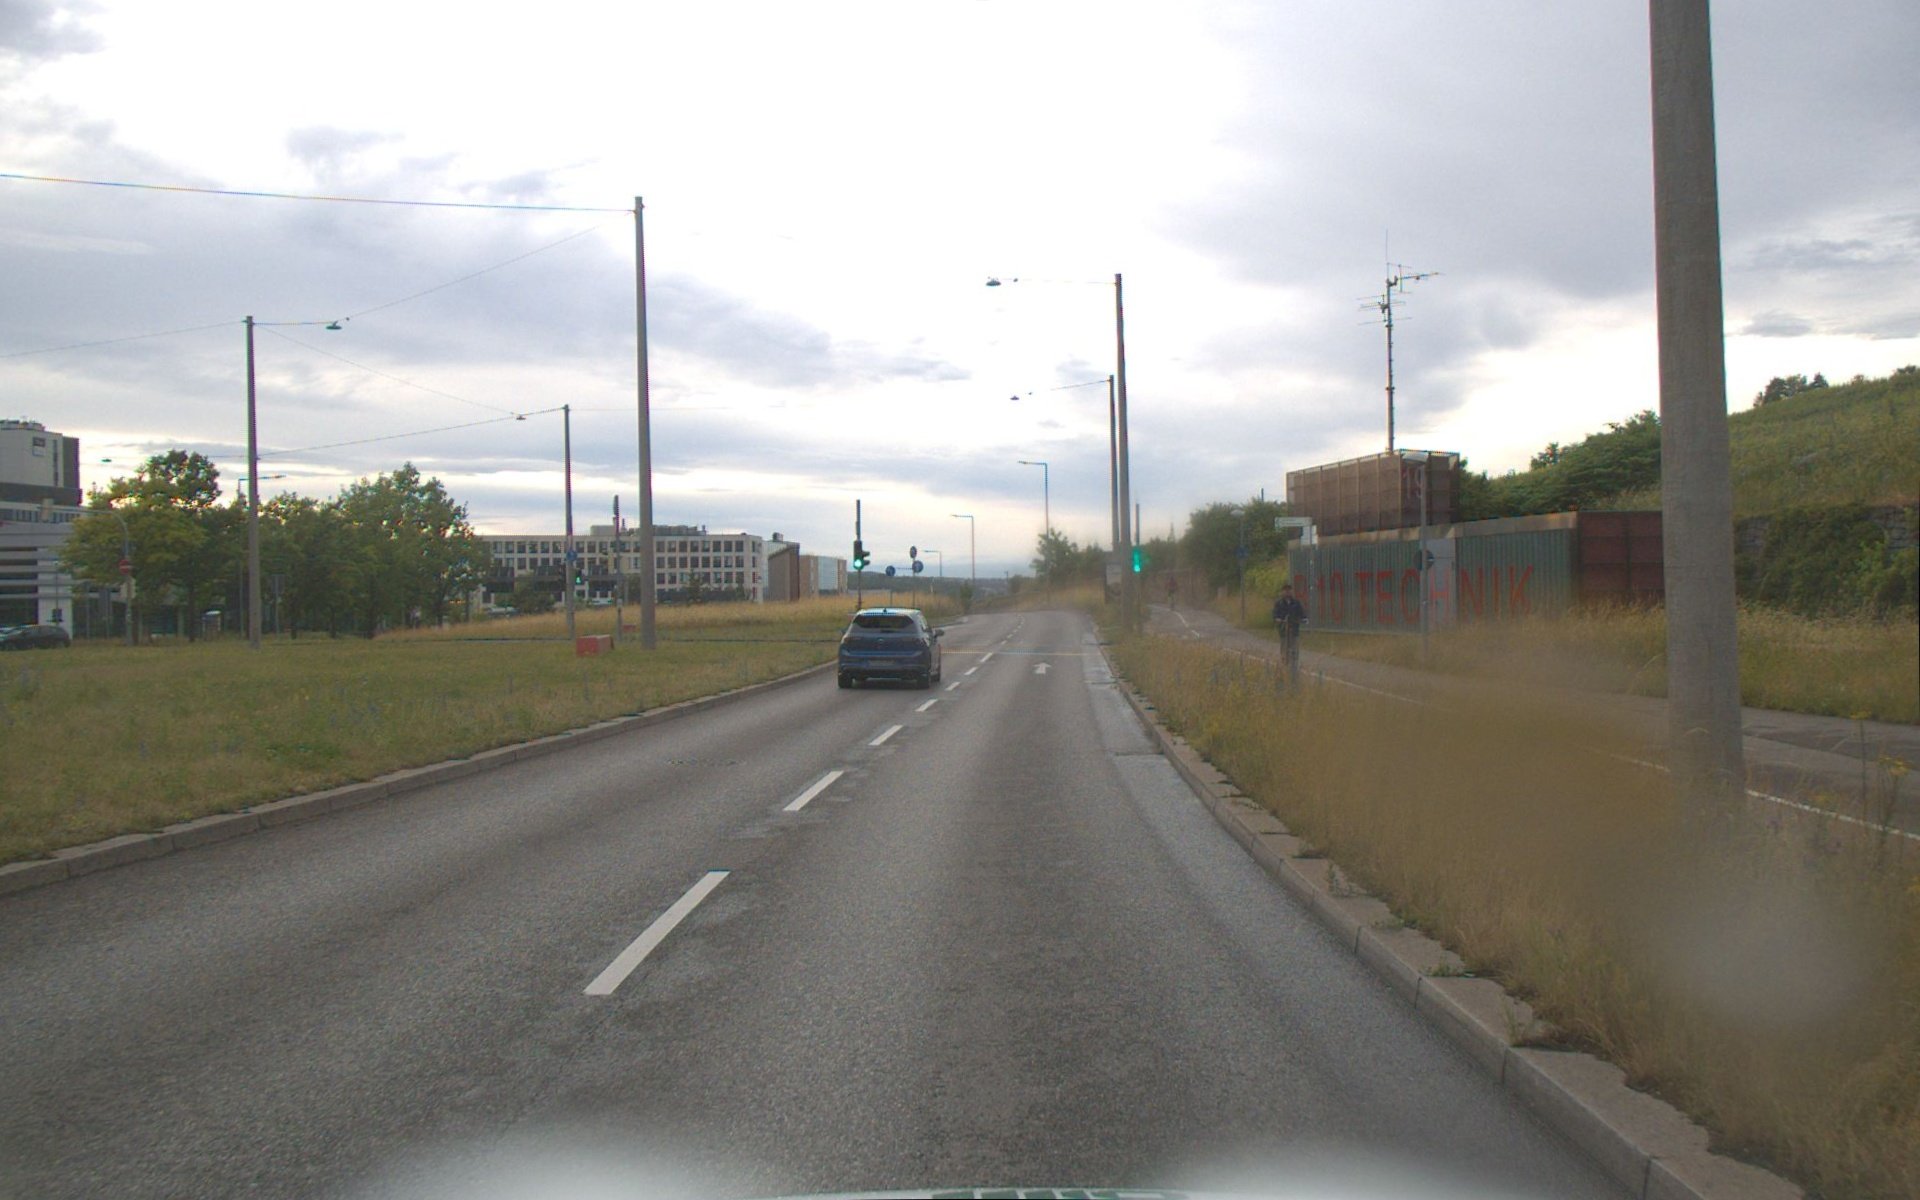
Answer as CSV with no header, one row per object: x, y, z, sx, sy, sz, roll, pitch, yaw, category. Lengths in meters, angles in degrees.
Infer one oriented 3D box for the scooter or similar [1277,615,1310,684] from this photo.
6.051,0.890,30.053,0.393,1.217,1.114,1,0,3,scooter or similar

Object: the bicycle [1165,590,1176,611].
10.672,0.019,83.914,0.539,1.087,0.615,0,0,5,bicycle

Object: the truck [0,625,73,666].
-49.066,2.364,86.929,3.970,2.049,1.967,-1,0,-45,truck

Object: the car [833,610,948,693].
-1.277,0.942,31.950,1.799,1.418,4.002,0,1,4,car

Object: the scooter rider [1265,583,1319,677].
6.051,0.542,30.211,0.789,1.657,0.829,-2,-1,2,scooter rider

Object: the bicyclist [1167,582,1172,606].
10.647,-0.296,83.955,0.260,1.217,0.315,0,0,5,bicyclist
